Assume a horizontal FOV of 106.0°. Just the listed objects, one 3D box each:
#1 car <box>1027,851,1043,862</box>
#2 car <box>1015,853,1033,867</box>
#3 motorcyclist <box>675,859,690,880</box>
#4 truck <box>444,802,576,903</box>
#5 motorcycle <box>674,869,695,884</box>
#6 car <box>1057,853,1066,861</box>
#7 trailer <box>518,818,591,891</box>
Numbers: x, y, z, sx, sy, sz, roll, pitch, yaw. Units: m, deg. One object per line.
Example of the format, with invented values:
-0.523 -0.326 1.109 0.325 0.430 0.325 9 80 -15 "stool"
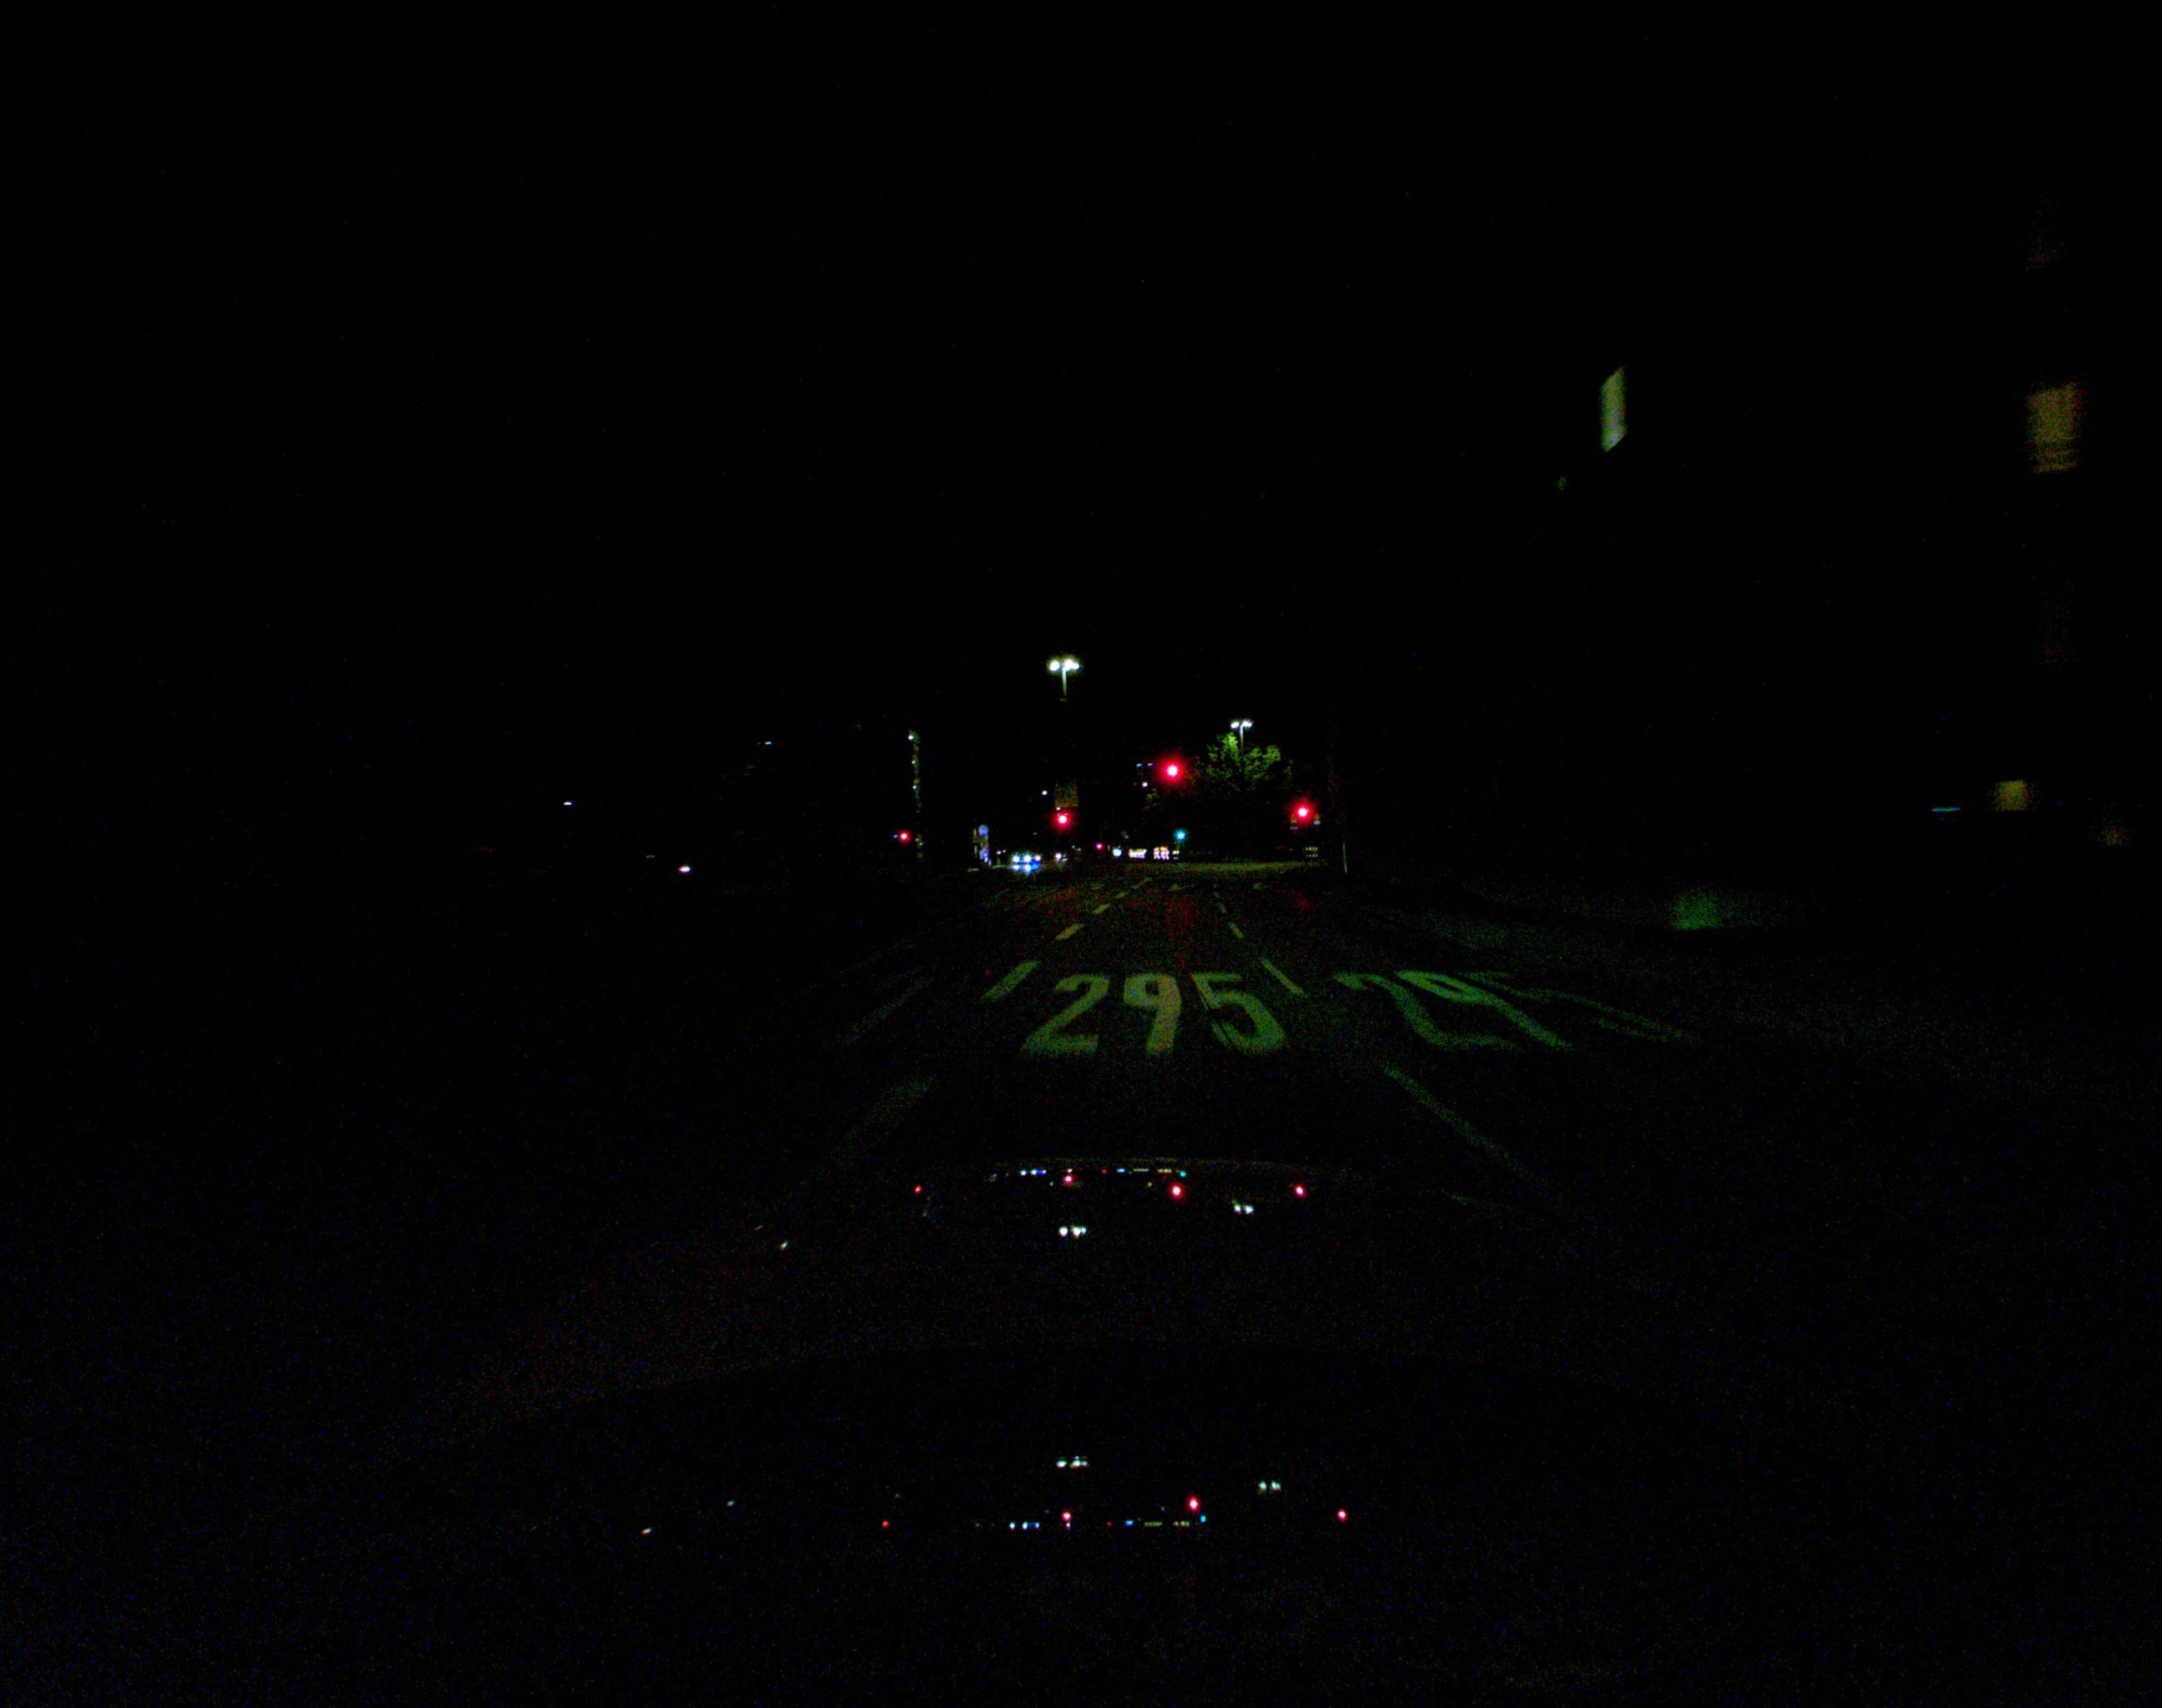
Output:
-5.929 0.308 105.086 1.751 1.322 3.549 -1 0 2 "car"
-6.598 0.714 94.627 1.609 1.515 4.002 -1 0 2 "car"
-24.129 0.928 49.298 0.652 1.261 0.572 -1 -1 -41 "motorcyclist"
-24.568 -0.031 35.595 2.952 3.796 9.479 -1 0 -24 "truck"
-24.135 1.373 49.512 0.583 0.896 2.130 -4 1 -41 "motorcycle"
-4.393 0.671 179.937 1.751 1.728 3.549 -1 0 2 "car"
-29.173 0.043 45.371 2.627 3.791 6.457 -1 0 -26 "trailer"
